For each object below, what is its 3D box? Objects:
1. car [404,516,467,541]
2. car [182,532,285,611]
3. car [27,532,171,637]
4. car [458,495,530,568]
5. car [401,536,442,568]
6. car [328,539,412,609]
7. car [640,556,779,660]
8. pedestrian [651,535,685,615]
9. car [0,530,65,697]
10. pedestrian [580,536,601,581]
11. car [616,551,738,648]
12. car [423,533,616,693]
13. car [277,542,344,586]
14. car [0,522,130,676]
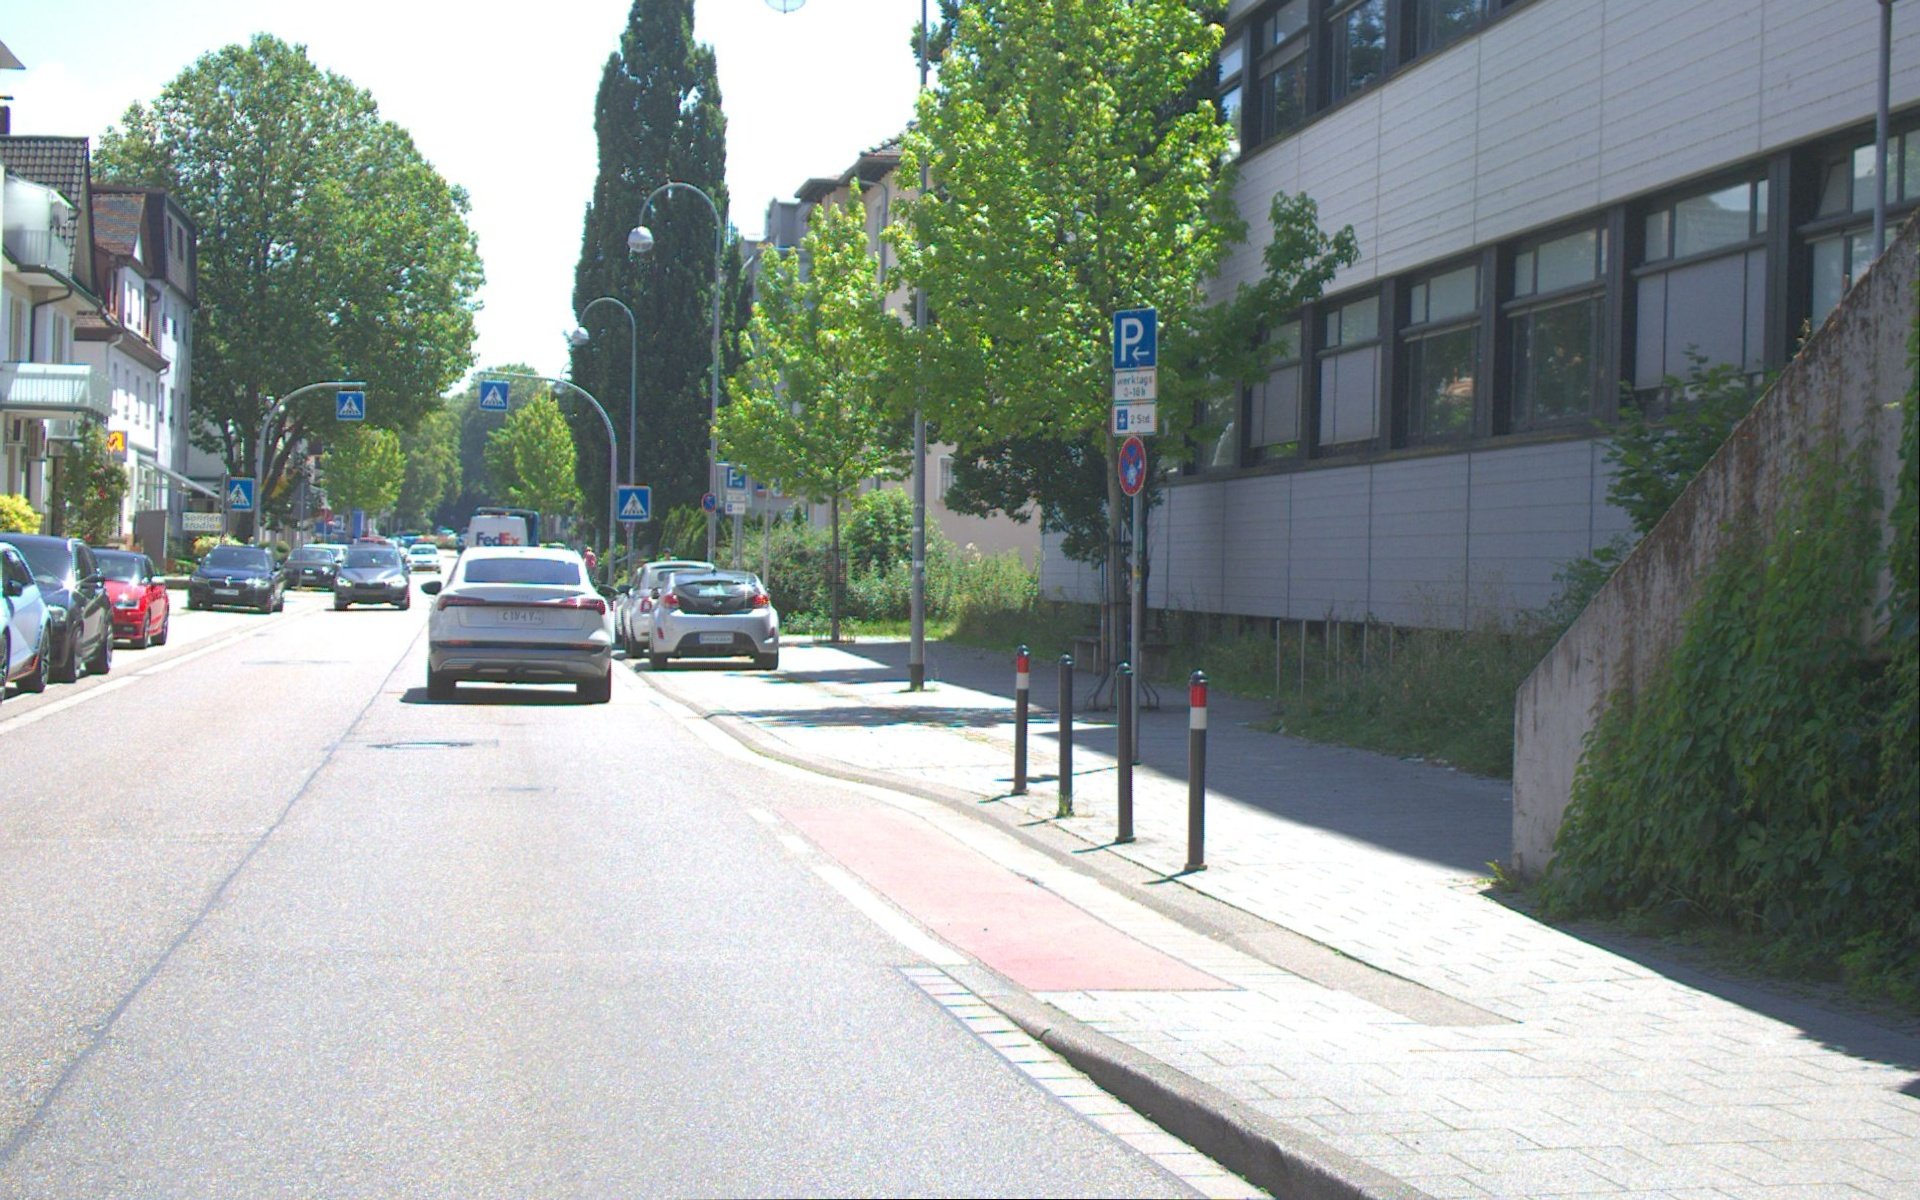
[{"bbox_3d":[-35.962,-4.883,235.693,3.987,1.645,2.000,1,1,-1],"label":"car"},{"bbox_3d":[-16.549,-0.669,78.484,1.925,1.714,4.473,1,1,-7],"label":"car"},{"bbox_3d":[-12.896,-0.259,51.687,1.649,1.414,3.906,4,0,-9],"label":"car"},{"bbox_3d":[-14.490,-2.126,106.712,2.069,2.189,5.139,0,1,-9],"label":"car"},{"bbox_3d":[-27.016,-2.421,172.606,1.978,1.515,4.001,1,1,-9],"label":"car"},{"bbox_3d":[-14.675,-0.671,85.725,1.973,1.665,4.473,1,1,-9],"label":"car"},{"bbox_3d":[-3.658,0.089,49.707,1.862,1.368,4.001,2,1,-6],"label":"car"},{"bbox_3d":[-6.491,-0.565,76.337,0.637,1.752,0.617,1,1,-12],"label":"pedestrian"},{"bbox_3d":[-10.325,0.051,34.531,1.925,1.567,4.660,4,0,-7],"label":"car"},{"bbox_3d":[-14.213,-1.598,132.131,0.693,1.730,0.668,1,0,-12],"label":"pedestrian"},{"bbox_3d":[-4.599,-0.041,55.440,1.658,1.483,4.347,0,1,-9],"label":"car"},{"bbox_3d":[-4.802,0.100,37.460,1.935,1.609,4.473,1,1,-7],"label":"car"},{"bbox_3d":[-21.142,-1.173,111.997,1.993,1.345,4.001,1,1,-9],"label":"car"},{"bbox_3d":[-10.985,-0.065,40.558,1.724,1.614,4.572,4,0,-7],"label":"car"}]
